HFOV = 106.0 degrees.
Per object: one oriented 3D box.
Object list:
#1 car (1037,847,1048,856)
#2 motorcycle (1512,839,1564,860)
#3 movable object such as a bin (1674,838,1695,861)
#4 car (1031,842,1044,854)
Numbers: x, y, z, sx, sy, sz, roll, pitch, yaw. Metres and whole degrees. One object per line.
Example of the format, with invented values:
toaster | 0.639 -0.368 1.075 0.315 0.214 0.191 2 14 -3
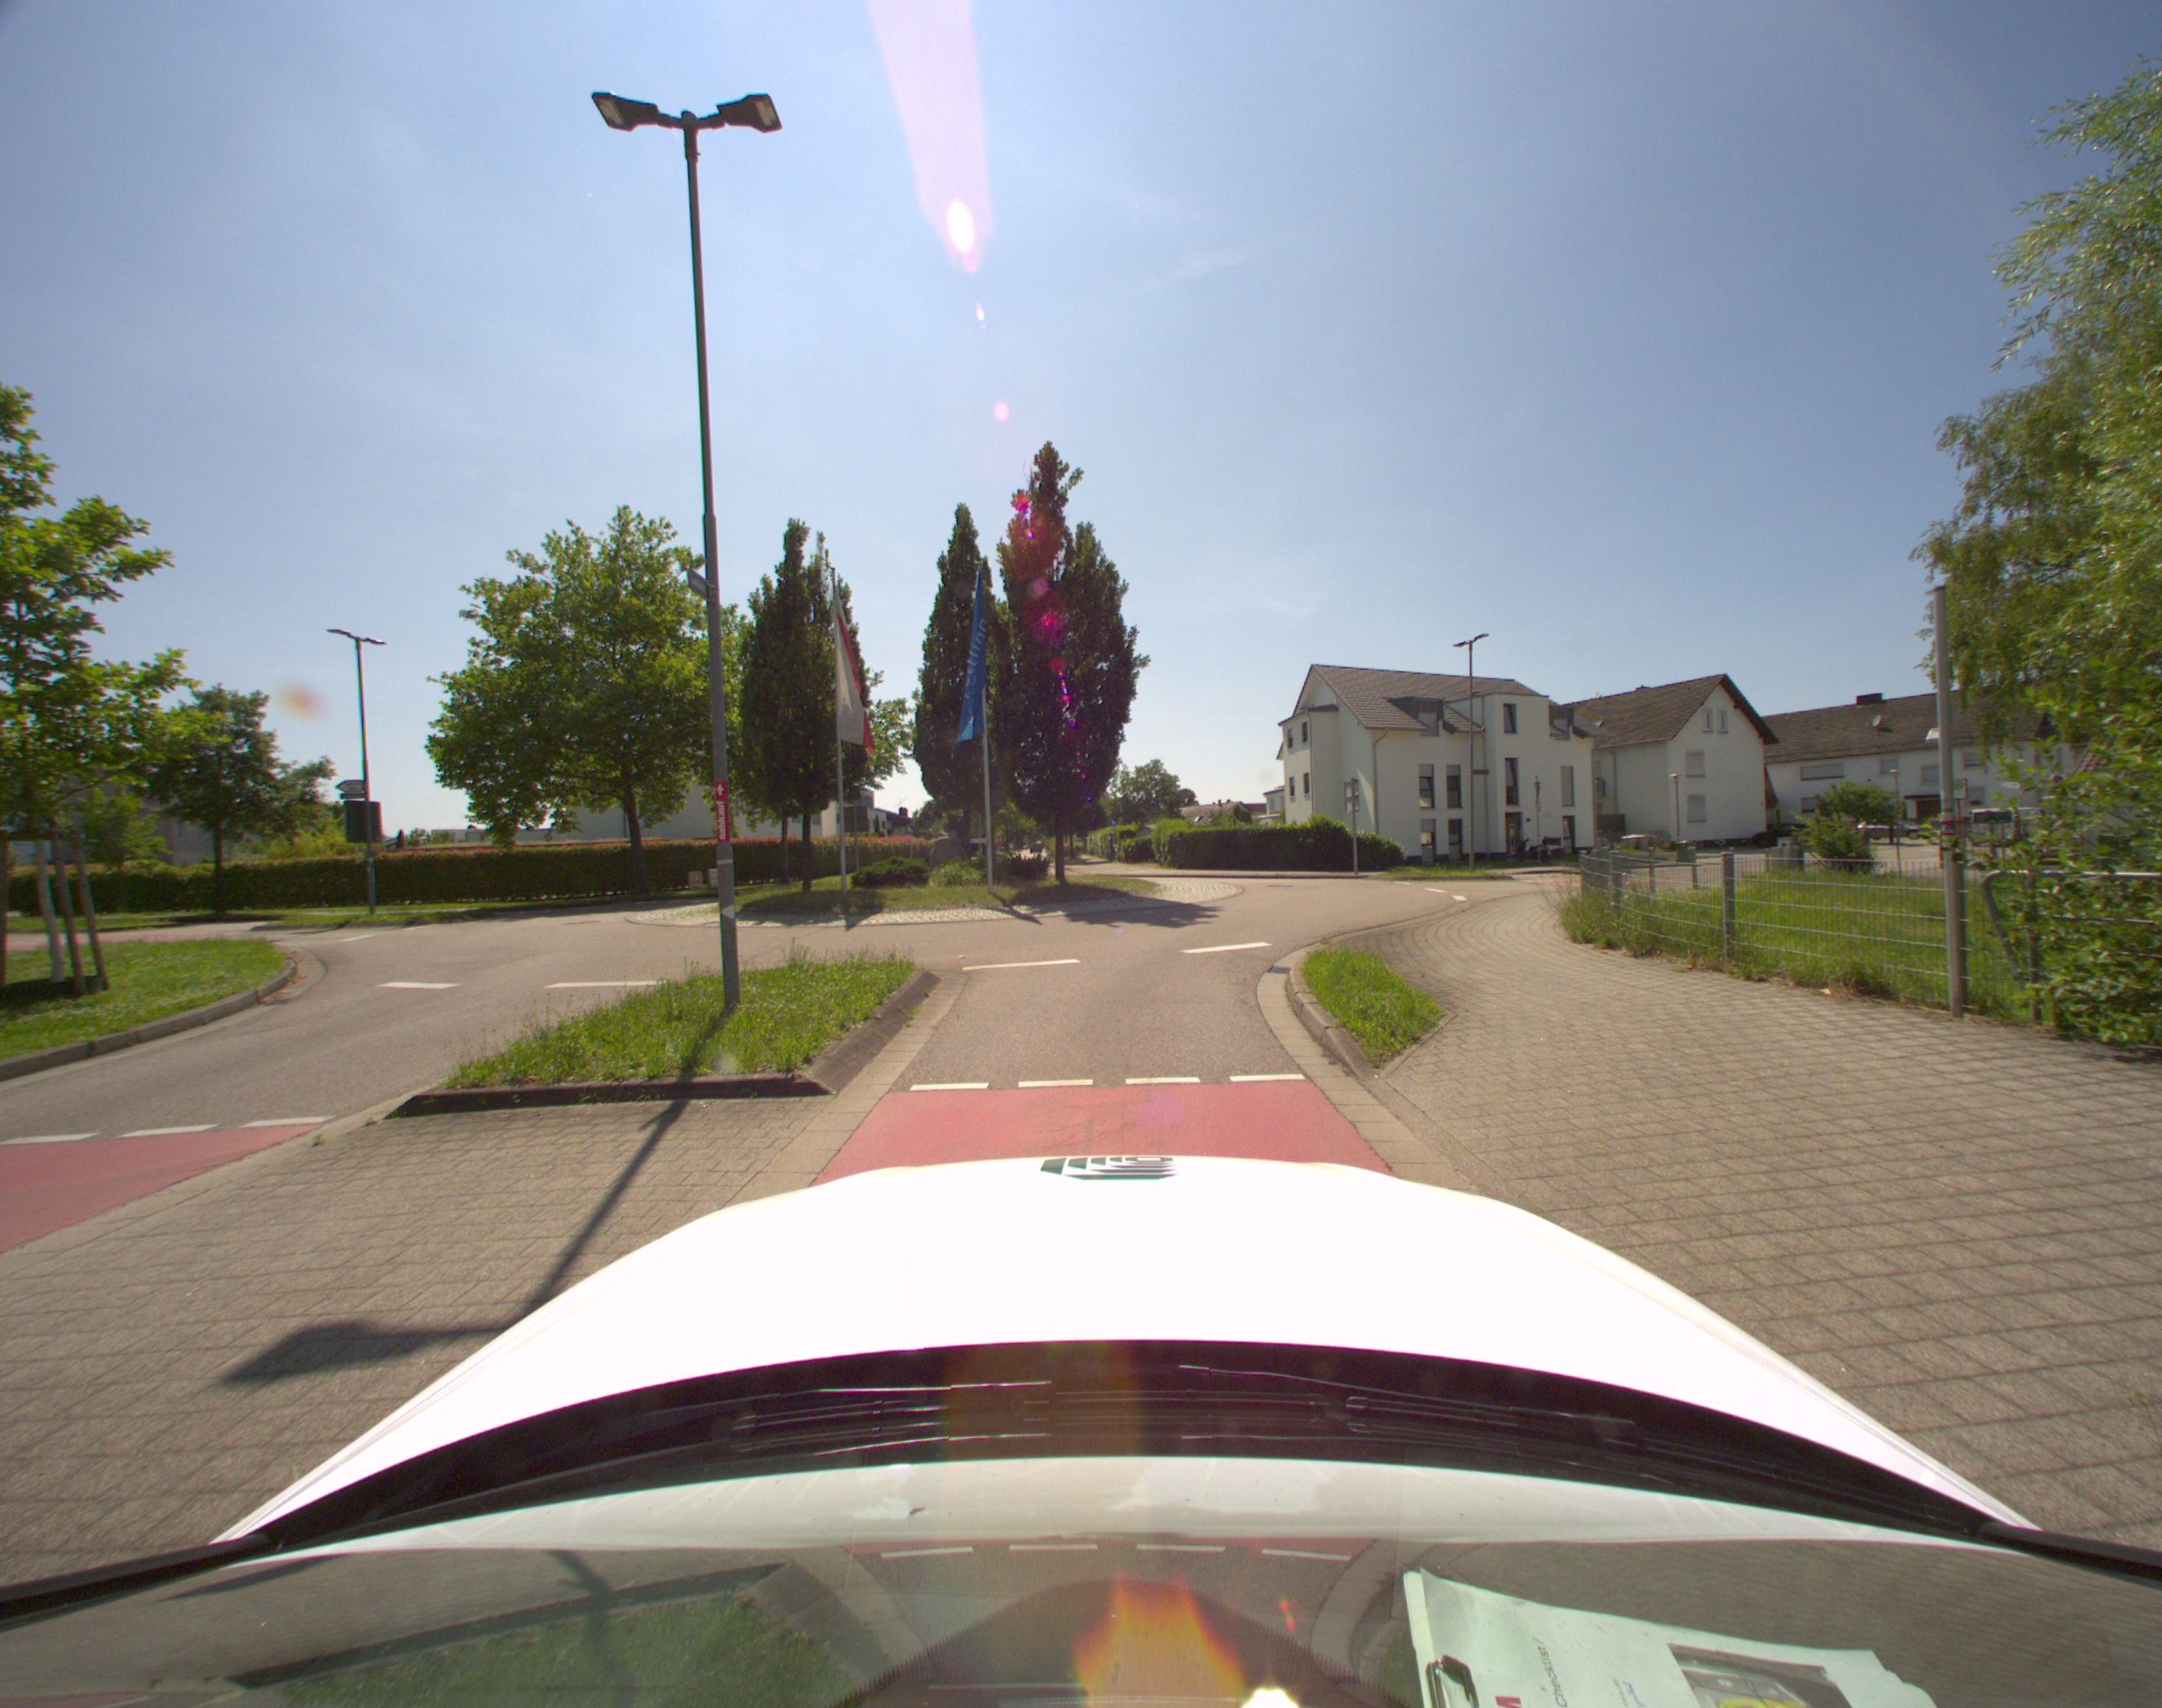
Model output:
car | -7.696 -0.489 163.455 1.988 1.770 3.997 -1 0 -2
motorcycle | 22.365 -0.231 39.898 0.672 1.013 2.353 0 0 -20
movable object such as a bin | 28.931 -0.202 39.039 0.458 1.083 0.644 -2 1 -16
car | -6.993 -0.959 130.796 1.919 1.886 3.995 -1 0 -3
